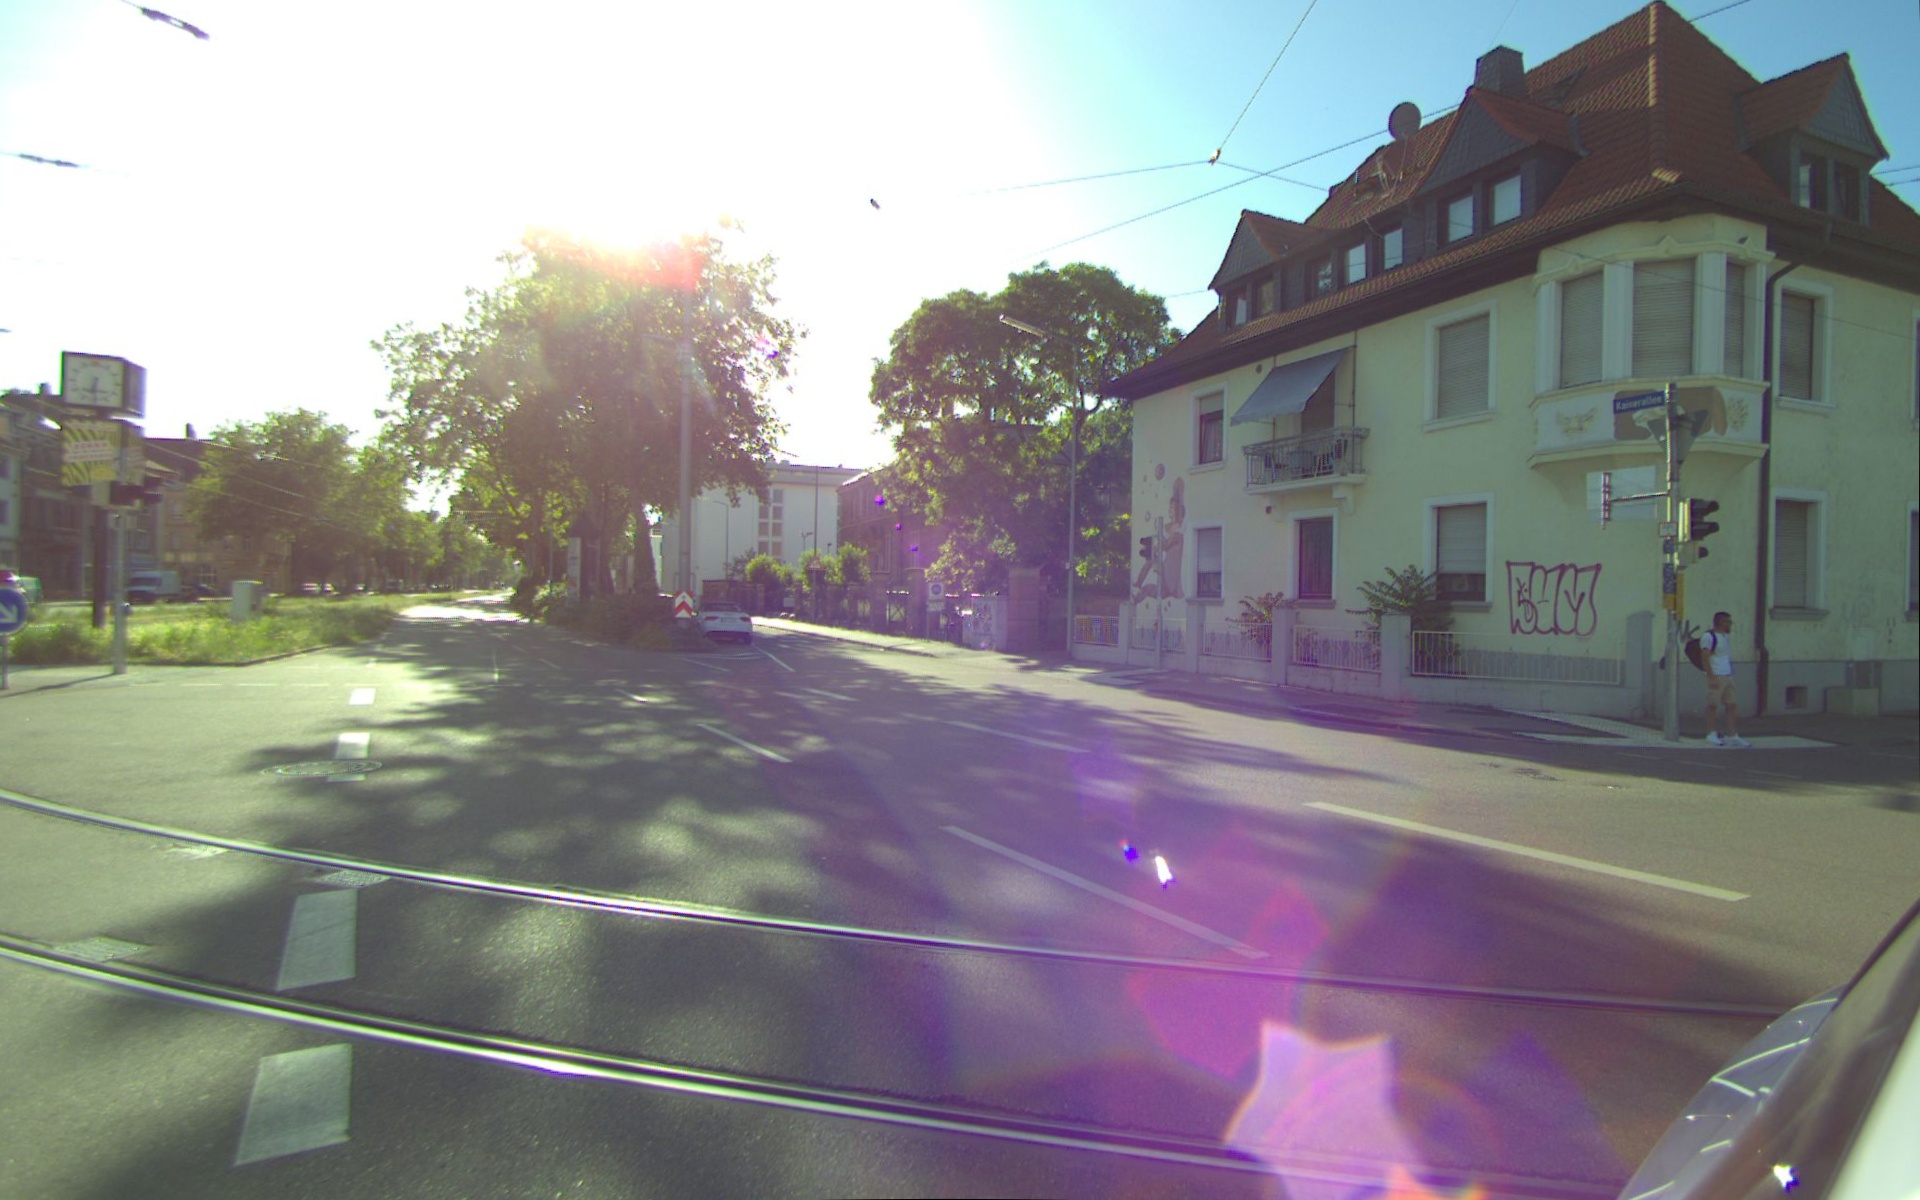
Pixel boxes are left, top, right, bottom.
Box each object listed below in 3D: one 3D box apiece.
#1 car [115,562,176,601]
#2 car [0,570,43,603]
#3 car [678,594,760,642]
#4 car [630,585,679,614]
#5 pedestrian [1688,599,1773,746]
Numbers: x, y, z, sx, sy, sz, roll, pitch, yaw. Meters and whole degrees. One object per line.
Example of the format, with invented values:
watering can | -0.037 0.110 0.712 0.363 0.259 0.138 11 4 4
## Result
car | -64.938 -1.473 80.781 2.156 2.945 5.971 1 0 -23
car | -56.004 -0.836 59.248 1.914 1.885 4.813 1 0 -23
car | -8.449 0.591 35.215 1.879 1.472 4.511 1 0 -25
car | -16.479 -0.036 54.512 1.879 1.472 4.511 1 0 -25
pedestrian | 9.898 0.905 13.030 0.668 1.761 0.683 3 3 28
